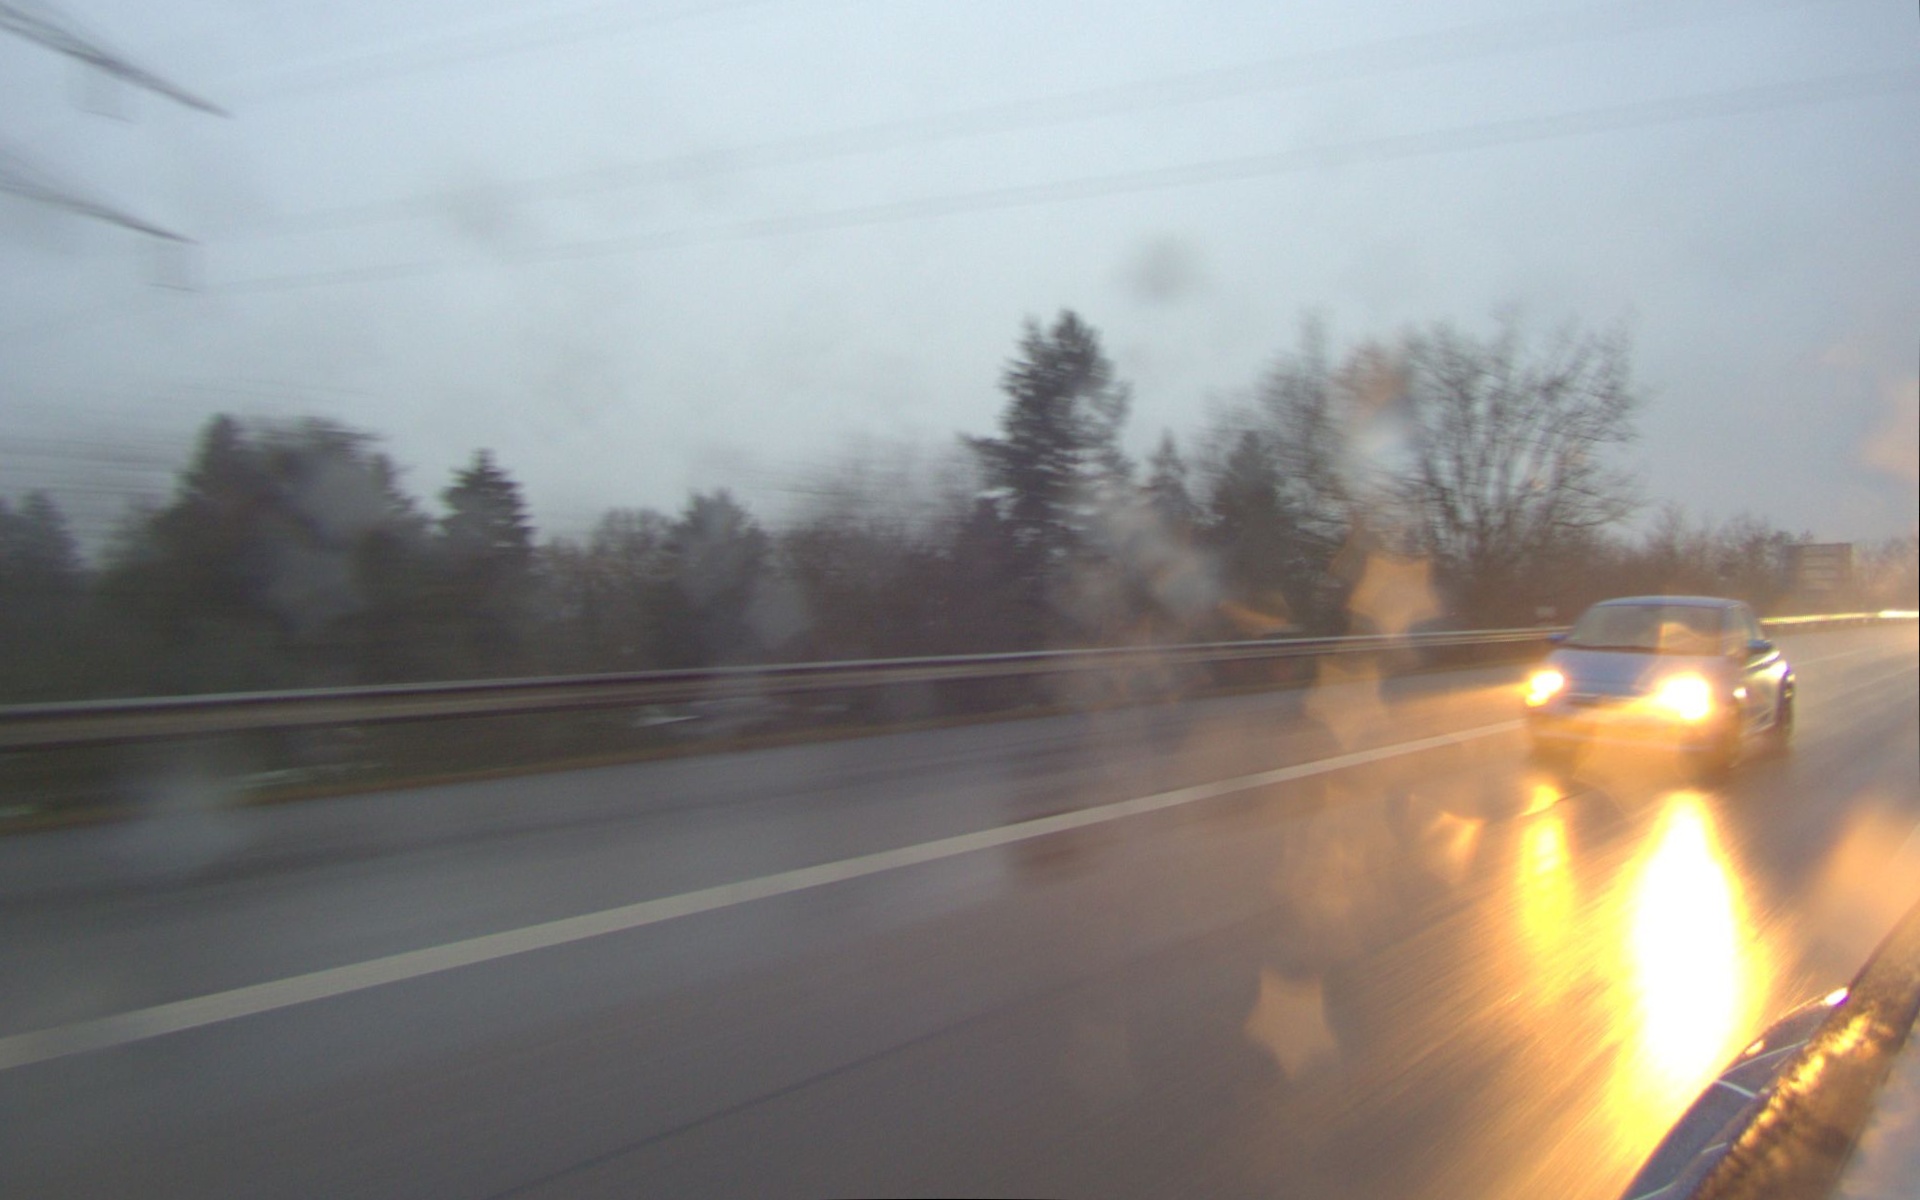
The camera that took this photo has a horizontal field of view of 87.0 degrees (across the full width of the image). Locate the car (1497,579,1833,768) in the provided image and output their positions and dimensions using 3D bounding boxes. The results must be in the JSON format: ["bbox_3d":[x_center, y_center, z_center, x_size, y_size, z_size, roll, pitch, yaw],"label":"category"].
[{"bbox_3d":[7.201,0.568,10.185,4.077,1.472,1.848,-2,1,-41],"label":"car"}]
